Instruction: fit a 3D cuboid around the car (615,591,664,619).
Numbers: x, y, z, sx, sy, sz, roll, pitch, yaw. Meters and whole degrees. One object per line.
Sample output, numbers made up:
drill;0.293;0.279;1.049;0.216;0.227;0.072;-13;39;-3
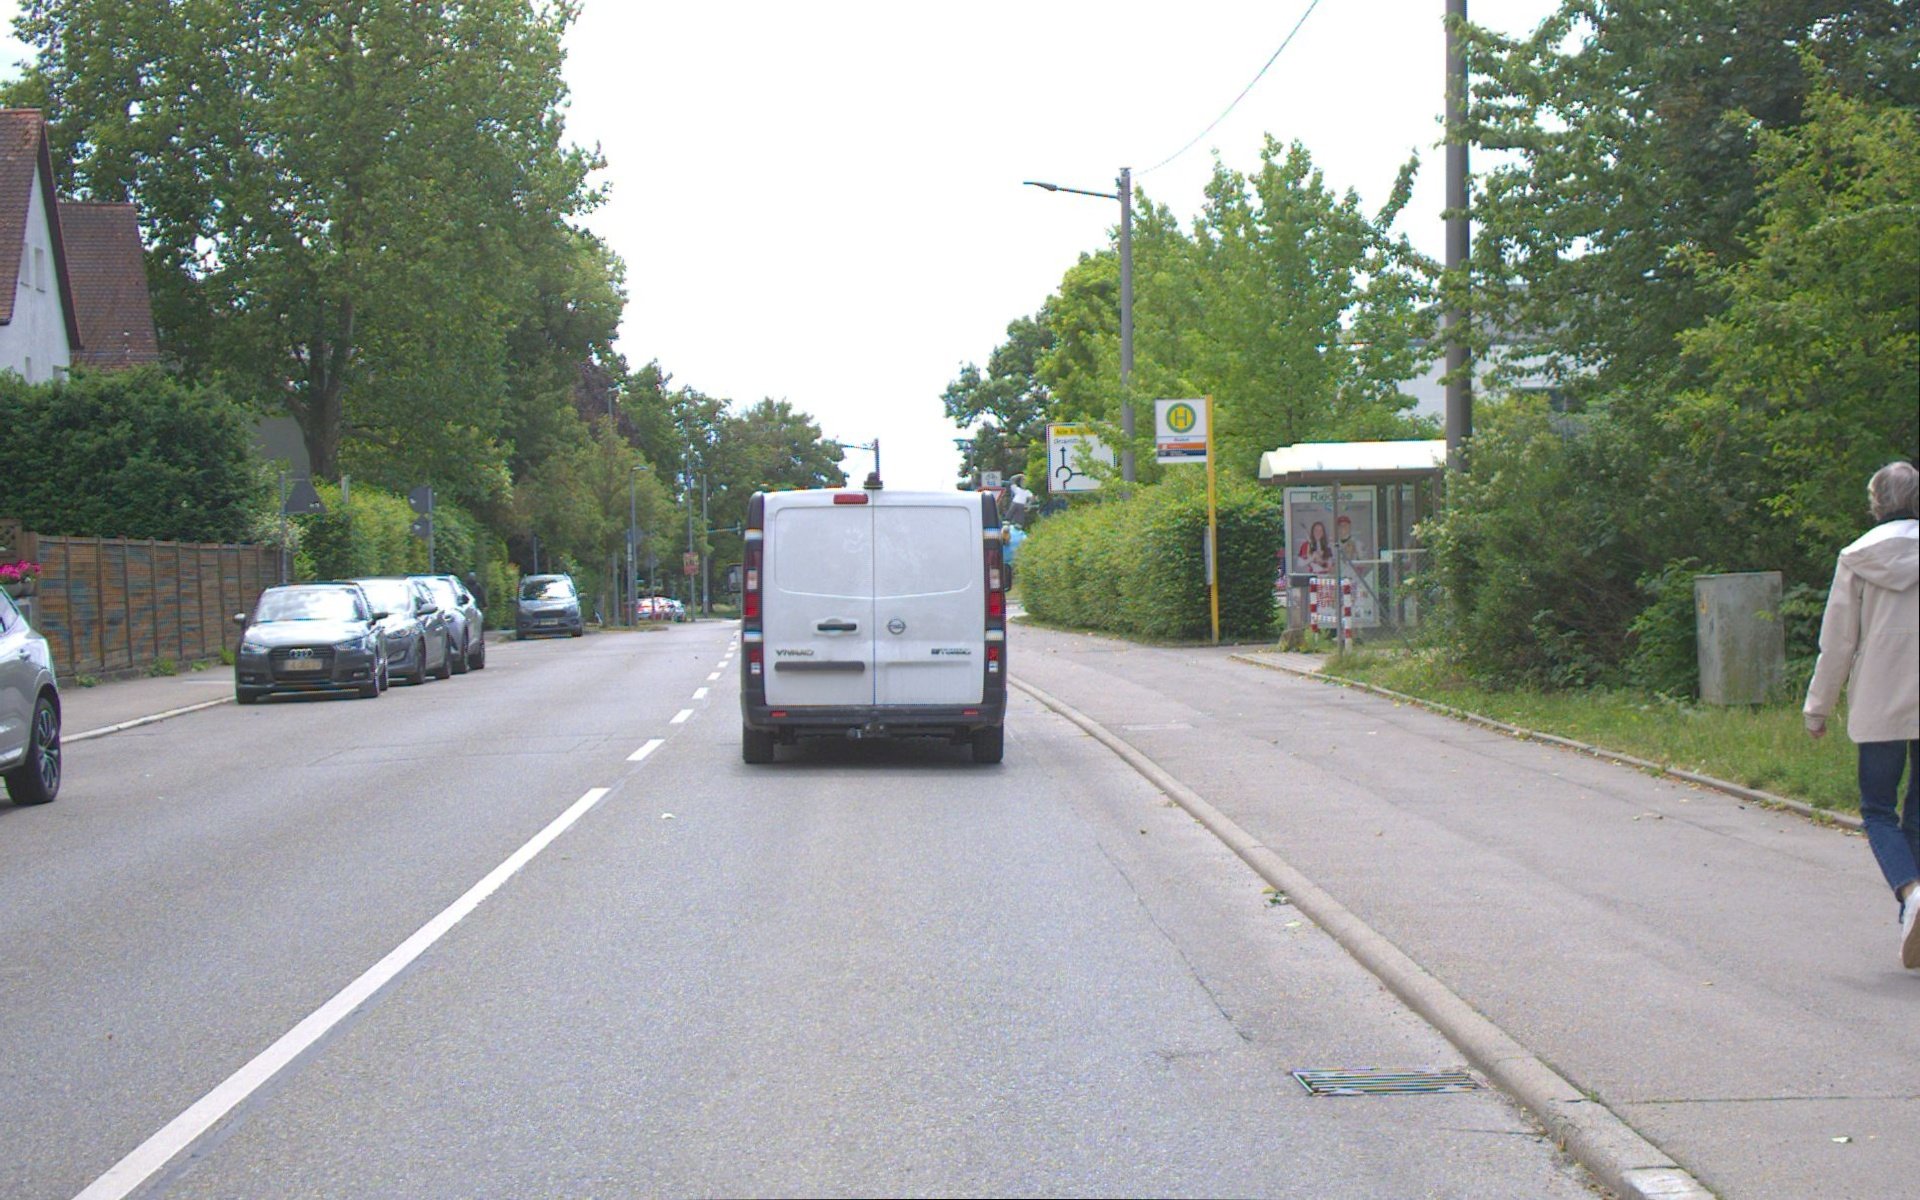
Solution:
car;-16.920;0.266;181.499;2.062;1.381;4.049;-2;1;-12

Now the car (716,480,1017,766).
car;-0.674;0.126;25.807;2.034;1.939;4.994;0;1;-1

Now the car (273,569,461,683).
car;-8.178;0.324;47.747;1.867;1.454;4.489;-2;0;-1

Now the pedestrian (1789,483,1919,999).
pedestrian;3.150;0.448;11.354;0.686;1.653;0.690;0;1;4

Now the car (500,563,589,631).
car;-11.157;-0.091;92.022;2.131;1.766;4.466;0;1;-10

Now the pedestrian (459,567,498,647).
pedestrian;-12.322;0.178;88.056;0.871;2.007;1.041;-3;0;-7

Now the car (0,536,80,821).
car;-7.138;0.528;21.793;1.985;1.812;4.708;-1;1;-2

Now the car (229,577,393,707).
car;-8.039;0.483;42.831;1.651;1.422;3.907;-3;1;-6

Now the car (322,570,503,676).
car;-8.421;0.326;53.268;1.993;1.474;4.647;-3;1;0
